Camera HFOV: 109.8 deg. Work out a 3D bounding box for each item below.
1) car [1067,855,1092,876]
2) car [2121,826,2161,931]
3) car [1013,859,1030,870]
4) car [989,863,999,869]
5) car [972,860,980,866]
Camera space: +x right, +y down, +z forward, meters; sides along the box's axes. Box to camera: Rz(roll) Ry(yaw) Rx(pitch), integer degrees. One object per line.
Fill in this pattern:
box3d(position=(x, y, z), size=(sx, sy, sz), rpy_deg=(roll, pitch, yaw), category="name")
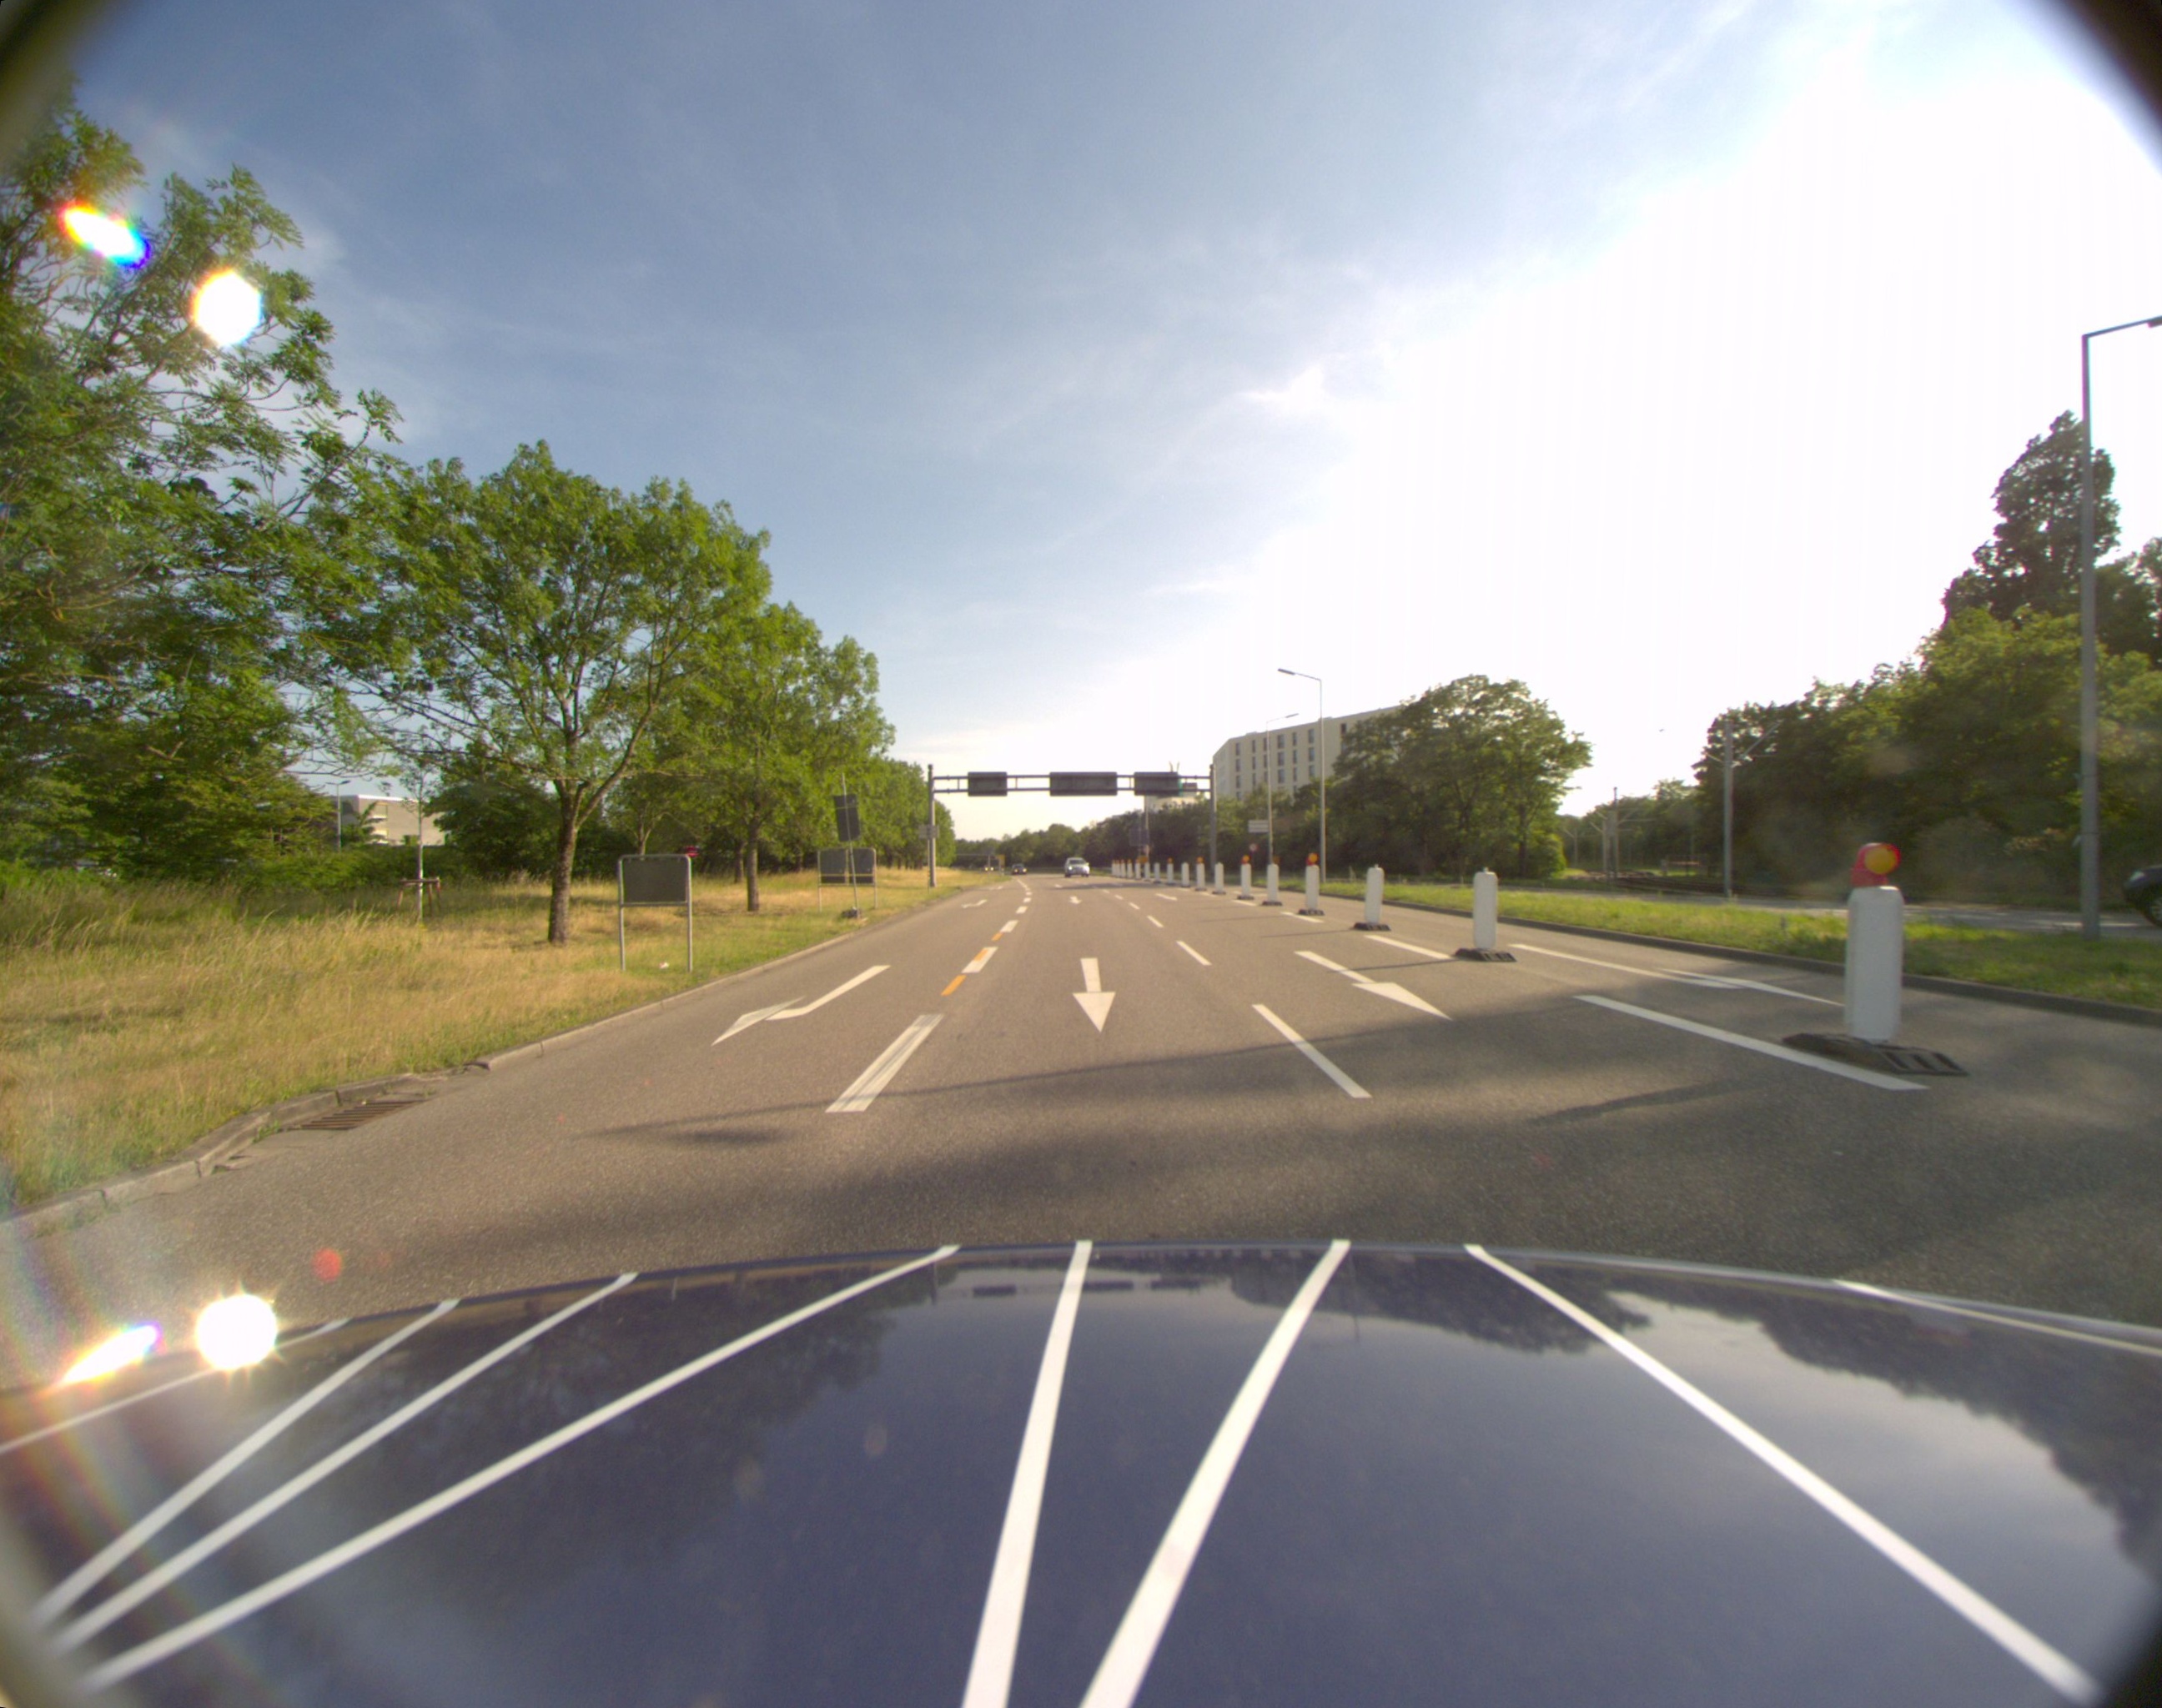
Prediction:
box3d(position=(-0.166, 1.033, 71.001), size=(1.902, 1.813, 4.354), rpy_deg=(-2, 0, -5), category="car")
box3d(position=(22.092, 0.446, 12.615), size=(2.001, 2.002, 5.351), rpy_deg=(-1, 0, -13), category="car")
box3d(position=(-7.913, 1.365, 101.290), size=(1.902, 1.377, 4.352), rpy_deg=(-2, 0, -9), category="car")
box3d(position=(-19.995, 2.751, 174.427), size=(1.897, 1.447, 3.904), rpy_deg=(-1, 0, -15), category="car")
box3d(position=(-34.347, 2.960, 248.126), size=(1.738, 1.602, 3.518), rpy_deg=(-3, 0, -21), category="car")
